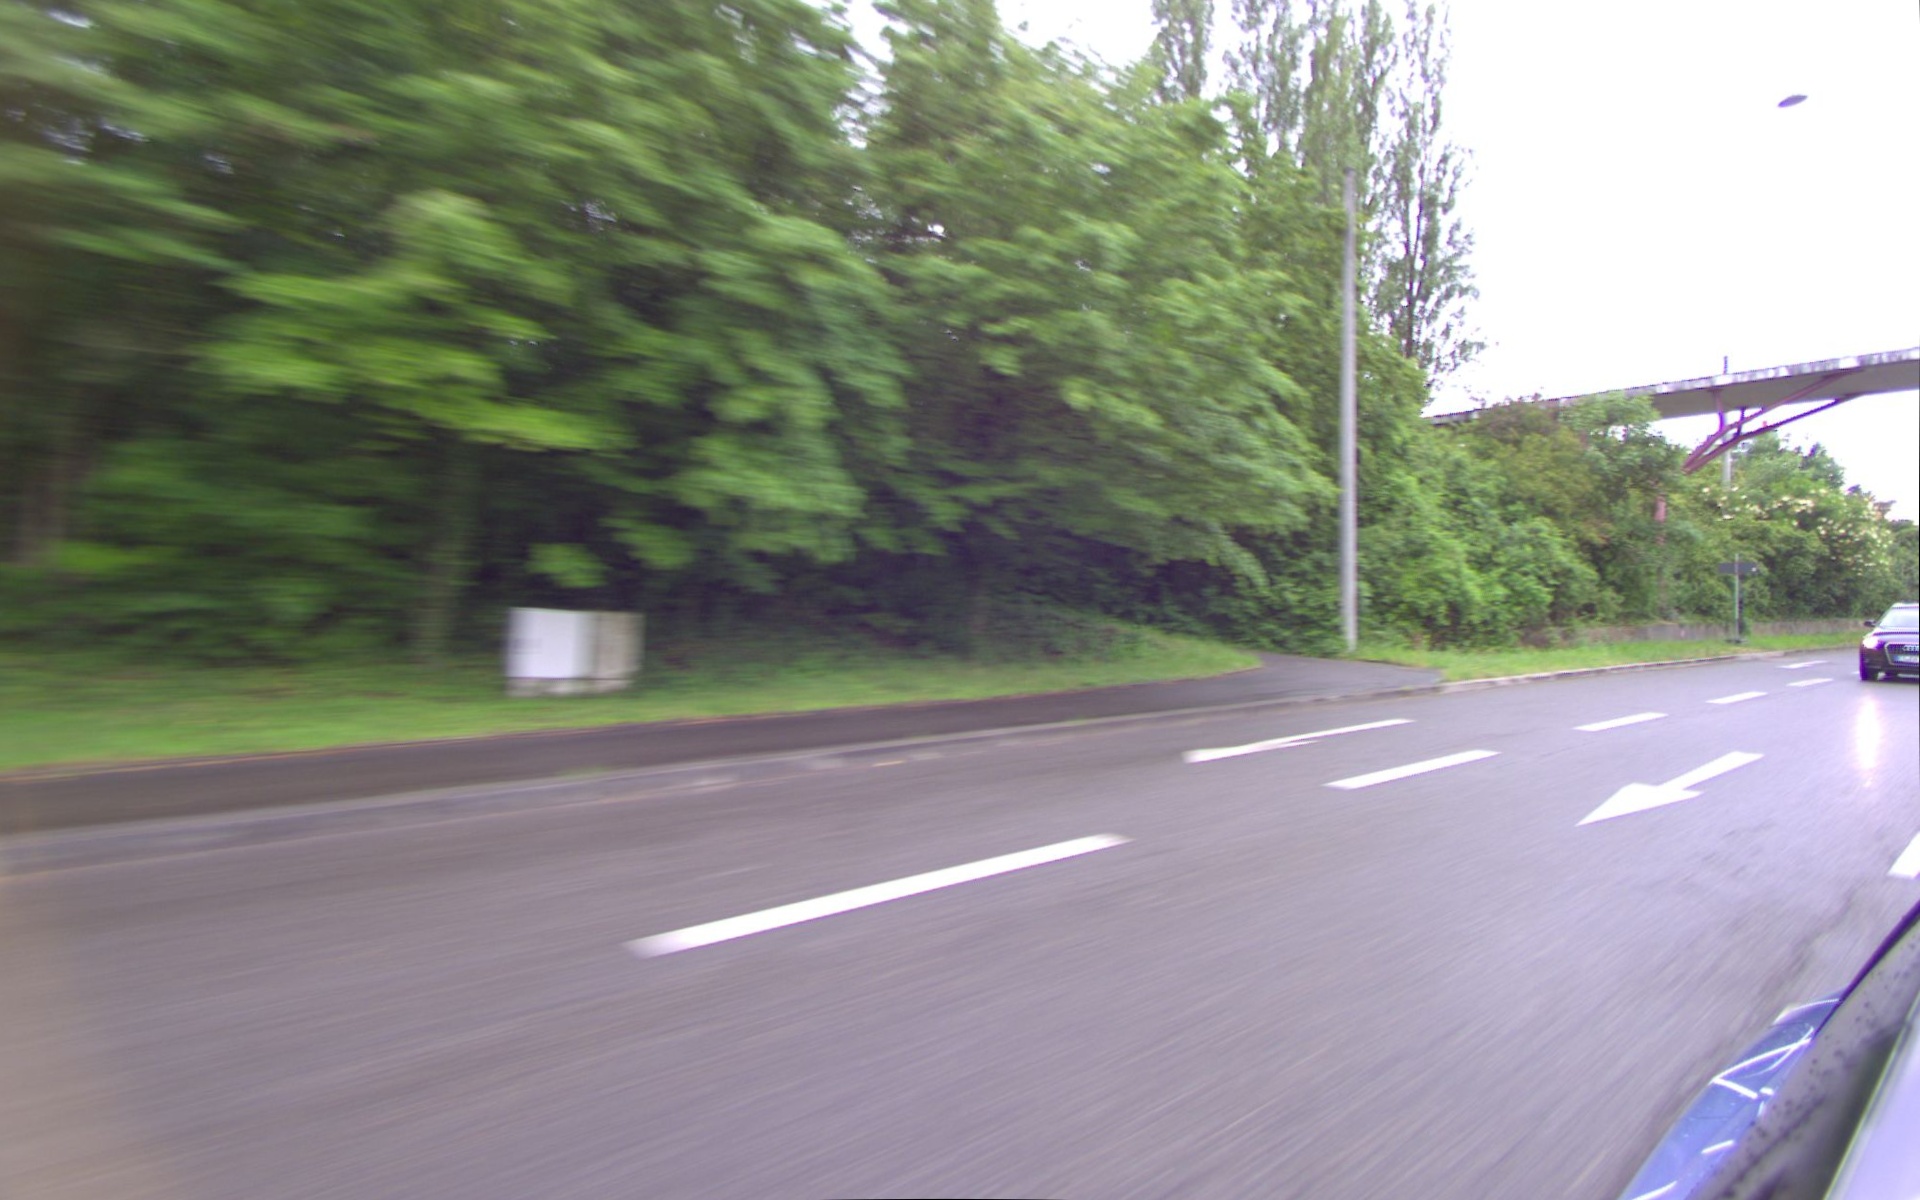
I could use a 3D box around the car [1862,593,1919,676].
[{"bbox_3d":[20.396,0.676,20.945,4.202,1.621,1.927,0,-1,-39],"label":"car"}]
